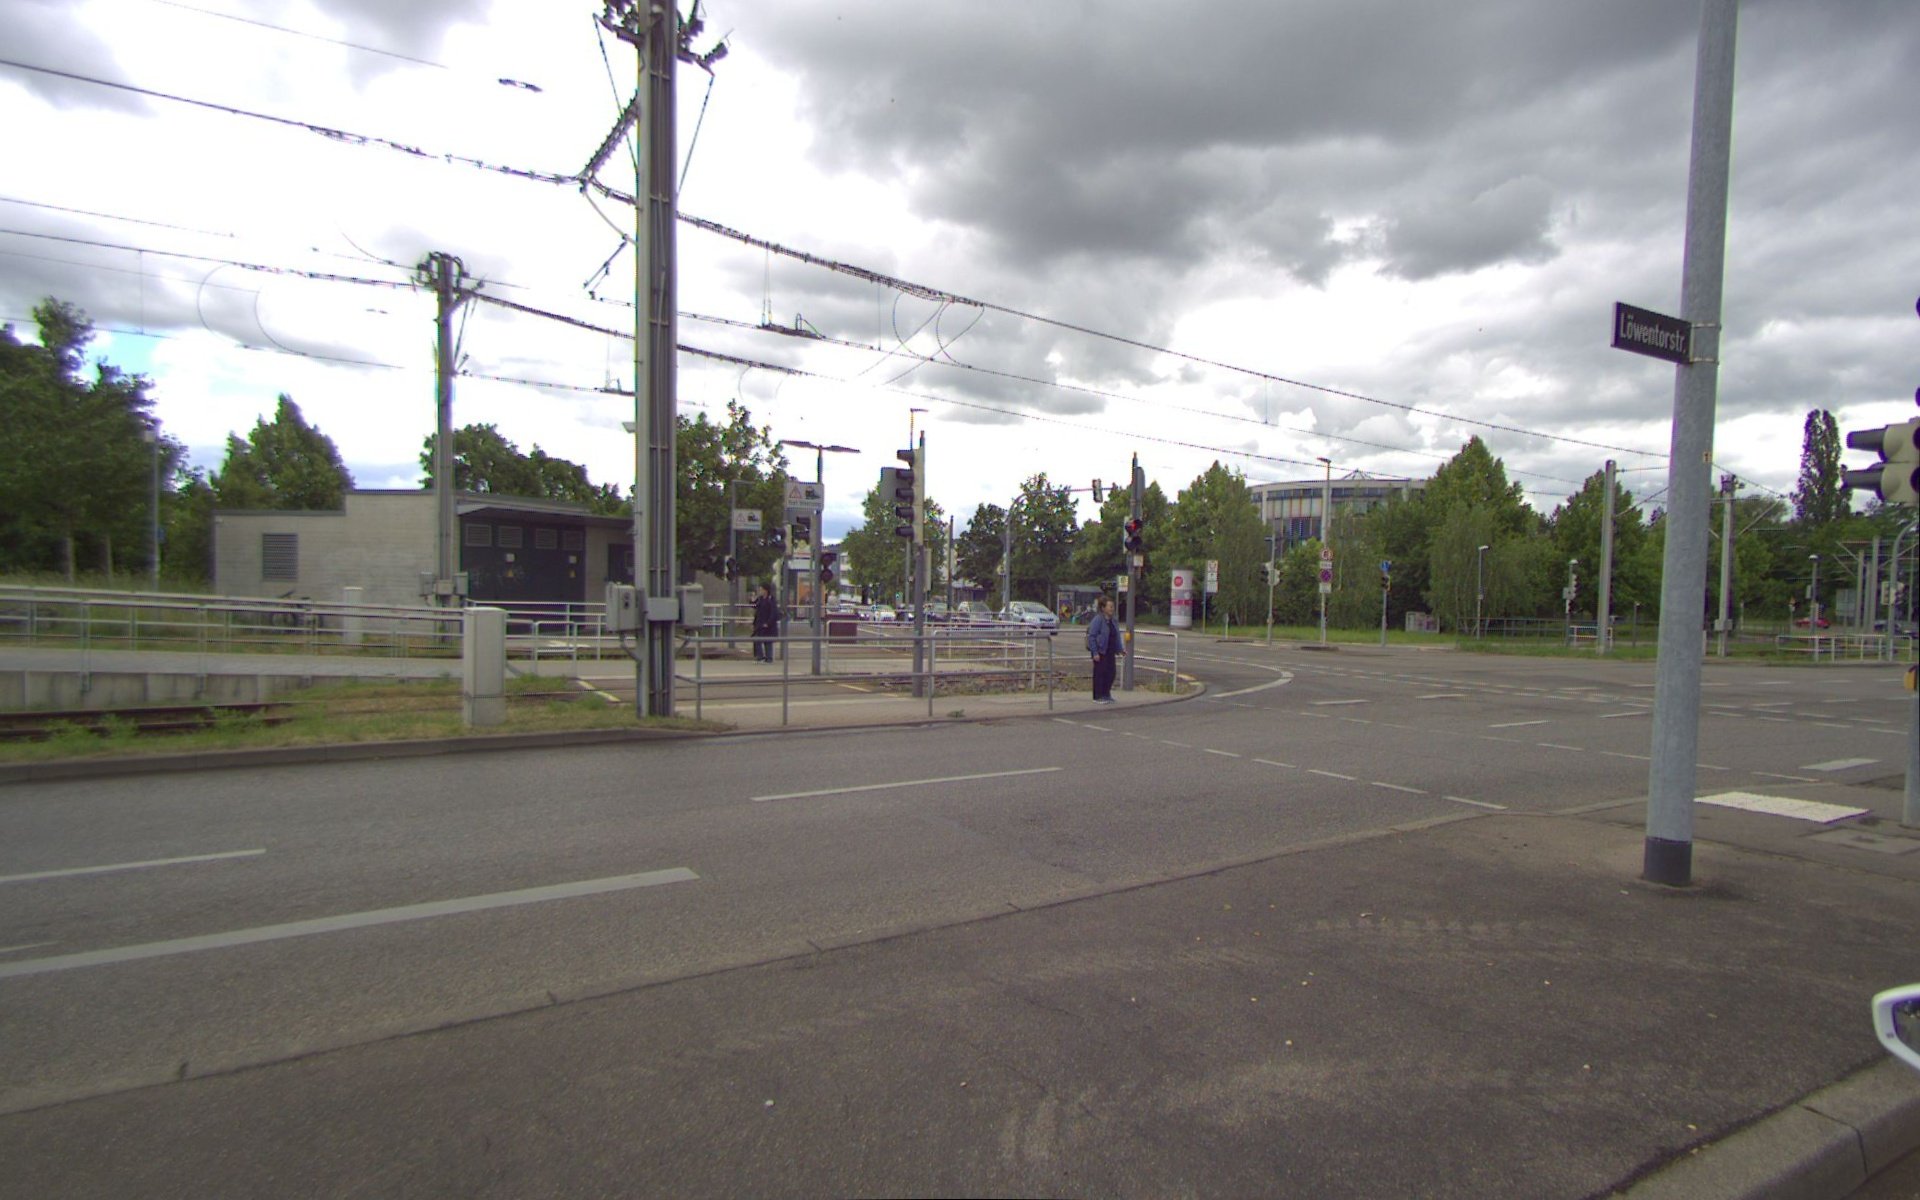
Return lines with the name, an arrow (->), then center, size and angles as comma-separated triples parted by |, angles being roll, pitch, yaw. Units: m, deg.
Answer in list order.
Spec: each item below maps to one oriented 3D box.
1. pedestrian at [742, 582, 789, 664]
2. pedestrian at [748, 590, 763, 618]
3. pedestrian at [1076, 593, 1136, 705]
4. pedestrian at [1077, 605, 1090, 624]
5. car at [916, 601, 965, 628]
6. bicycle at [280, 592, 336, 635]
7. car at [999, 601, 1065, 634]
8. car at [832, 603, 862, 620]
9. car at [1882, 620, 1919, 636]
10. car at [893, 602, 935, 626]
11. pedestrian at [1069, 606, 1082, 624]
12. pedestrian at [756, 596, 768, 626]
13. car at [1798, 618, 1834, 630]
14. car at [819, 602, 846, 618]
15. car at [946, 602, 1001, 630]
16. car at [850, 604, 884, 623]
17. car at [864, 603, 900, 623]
pedestrian -> -3.969, 0.464, 20.510 | 0.653, 1.628, 0.698 | 1, 1, -41
pedestrian -> -12.417, 0.228, 61.059 | 0.771, 1.649, 0.660 | 1, 0, -22
pedestrian -> 2.141, 0.701, 14.705 | 0.701, 1.584, 0.533 | 1, 1, -44
pedestrian -> 8.797, 1.032, 71.737 | 0.652, 1.322, 0.780 | 1, 0, -16
car -> -1.147, 0.816, 58.162 | 1.706, 1.456, 3.731 | 1, 0, -20
bicycle -> -17.323, 0.343, 26.674 | 1.452, 1.101, 0.492 | 1, 0, 22
car -> 3.305, 0.799, 46.807 | 1.706, 1.456, 3.731 | 1, 0, -20
car -> -9.767, 0.987, 86.712 | 1.706, 1.456, 3.731 | 1, 0, -20
car -> 97.489, 2.919, 103.846 | 1.752, 1.465, 4.526 | -1, 0, 22
car -> -3.001, 0.888, 64.928 | 1.706, 1.456, 3.731 | 1, 0, -20
pedestrian -> 8.376, 1.081, 72.956 | 0.652, 1.321, 0.780 | 1, 0, -16
pedestrian -> -13.451, 0.762, 68.335 | 0.738, 1.993, 0.795 | 1, 0, -9
car -> 116.591, 3.217, 136.806 | 1.748, 1.567, 4.027 | 1, 0, 6
car -> -11.930, 0.962, 94.069 | 1.706, 1.456, 3.731 | 1, 0, -20
car -> 0.692, 0.843, 53.666 | 1.706, 1.456, 3.731 | 1, 0, -20
car -> -7.417, 1.023, 79.681 | 1.706, 1.456, 3.991 | 1, 0, -20
car -> -5.811, 0.963, 74.778 | 1.706, 1.456, 3.731 | 1, 0, -20
